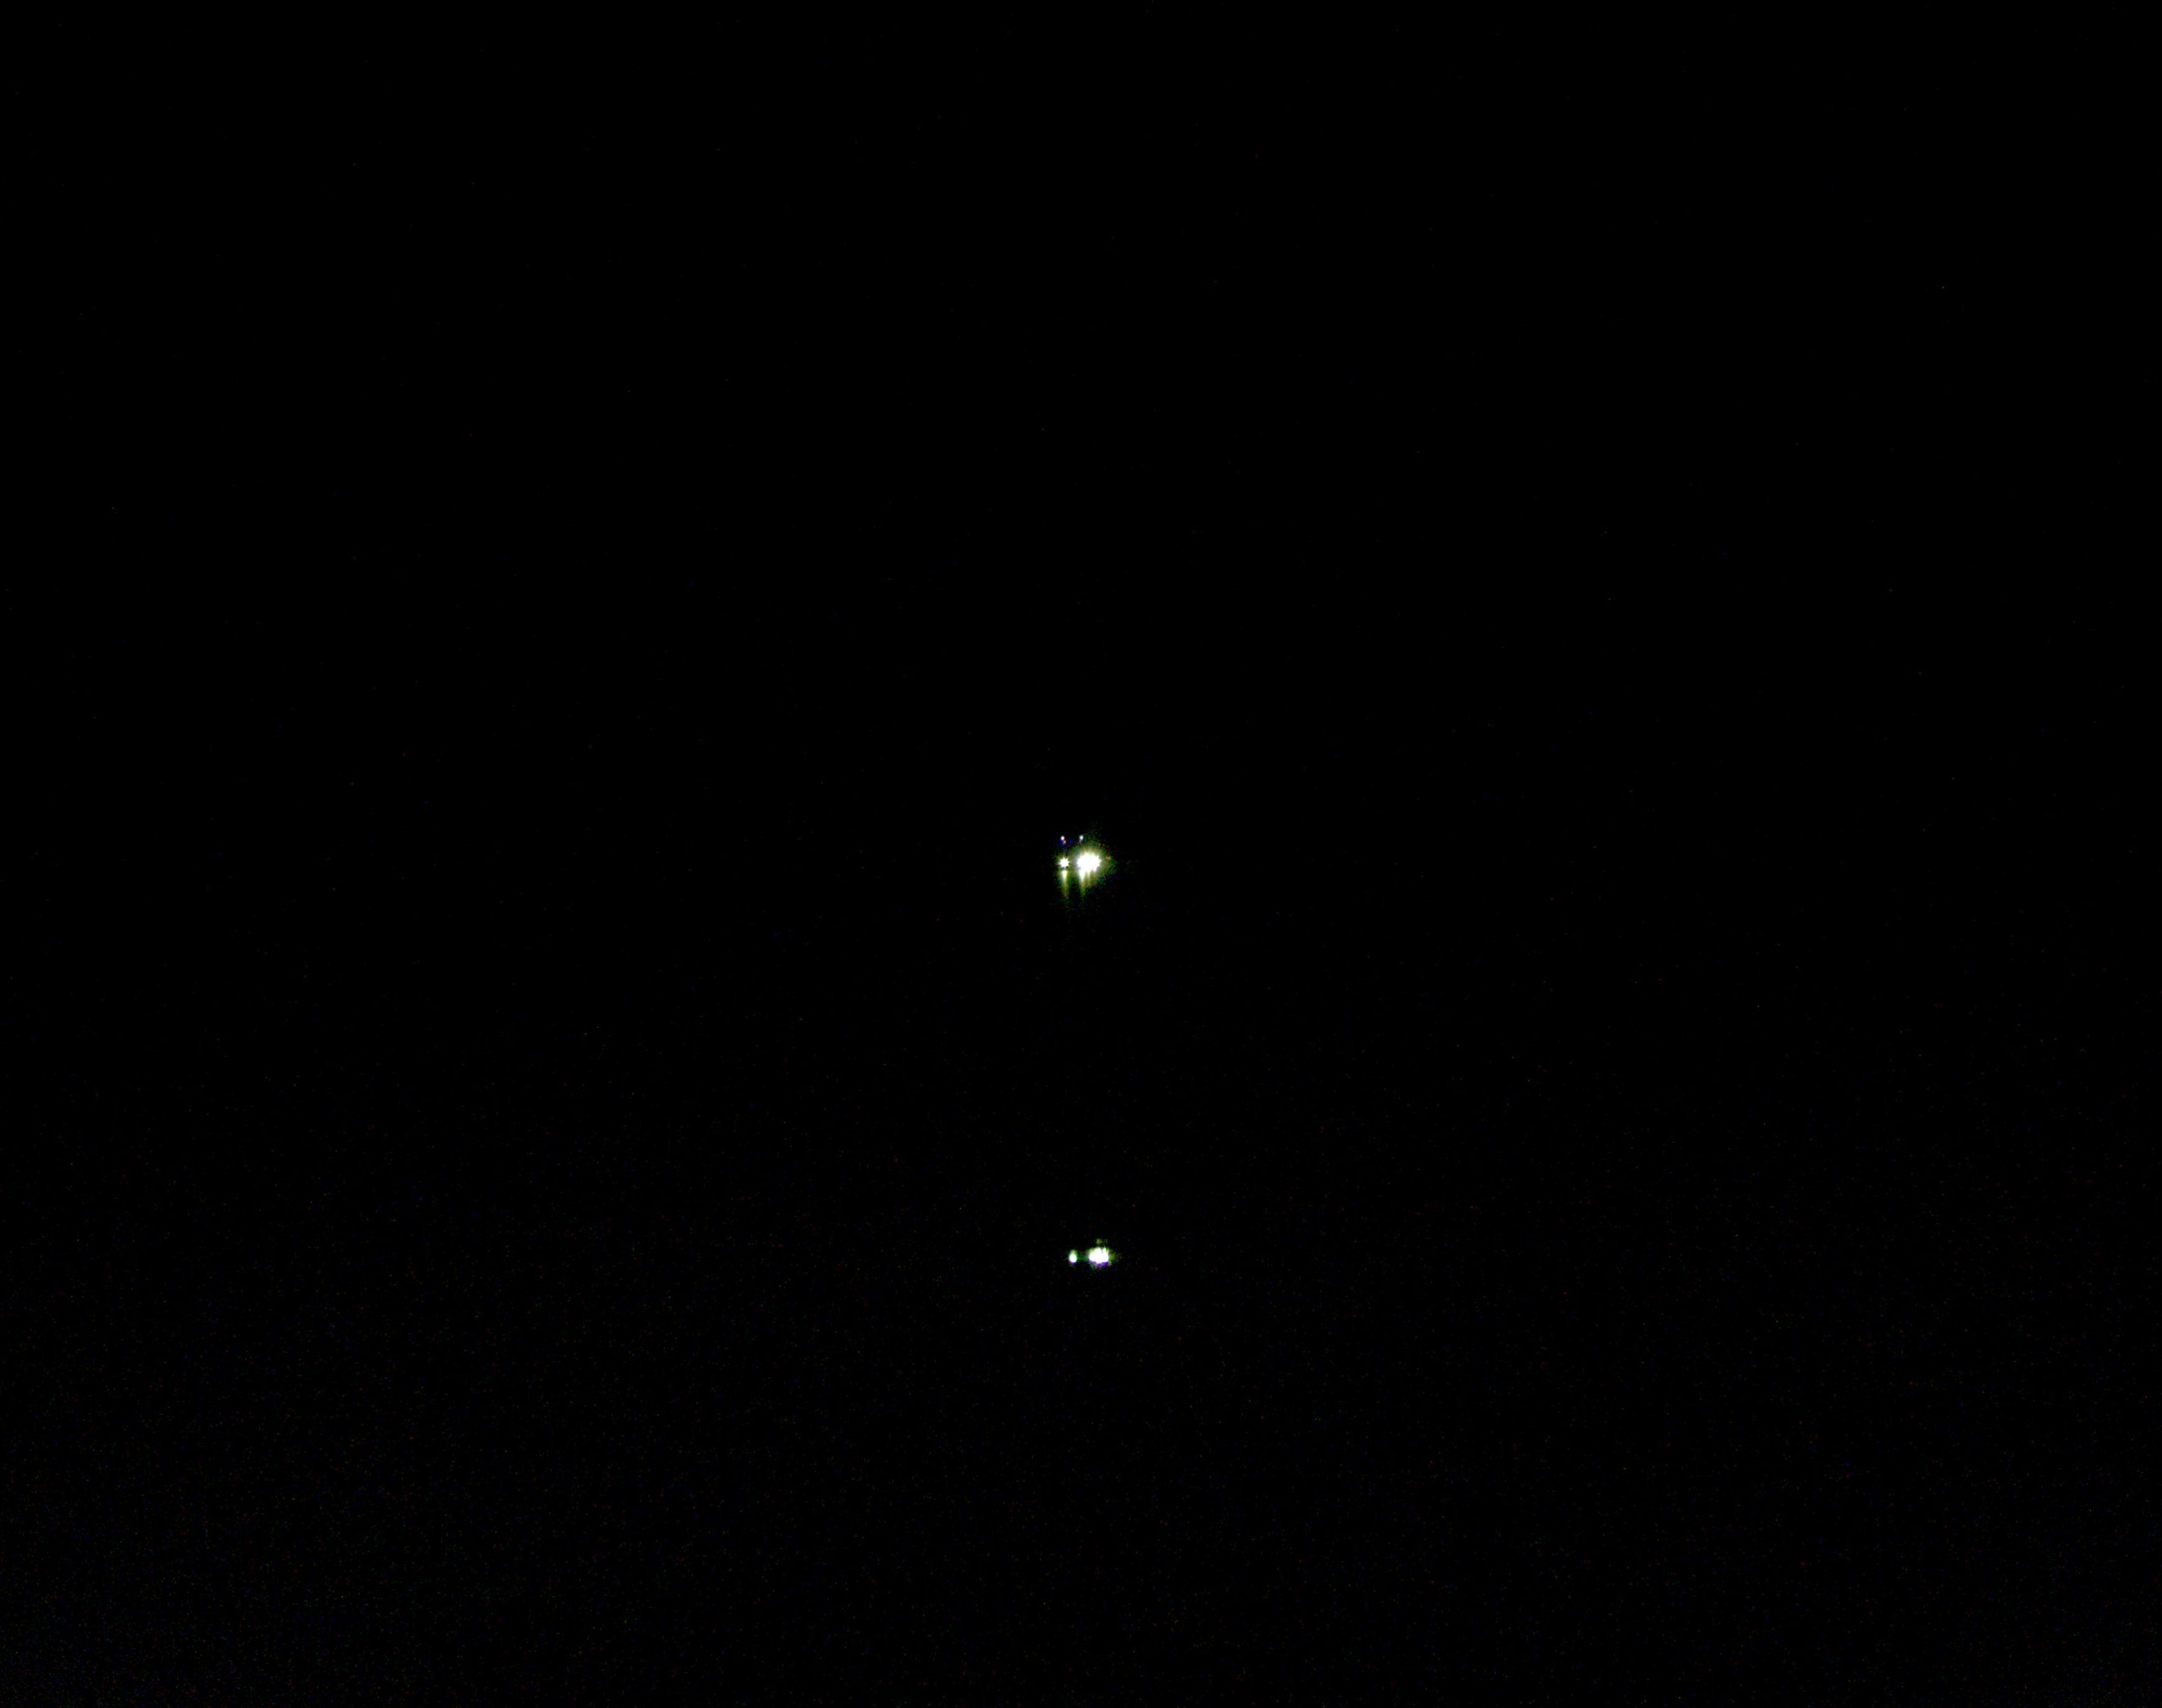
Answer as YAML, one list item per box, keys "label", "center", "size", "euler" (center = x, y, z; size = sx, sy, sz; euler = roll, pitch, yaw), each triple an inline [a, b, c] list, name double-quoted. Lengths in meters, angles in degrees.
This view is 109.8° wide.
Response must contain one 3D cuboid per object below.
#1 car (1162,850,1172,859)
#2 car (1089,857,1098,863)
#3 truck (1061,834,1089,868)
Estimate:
- label: "car"
  center: [22.144, 0.053, 195.582]
  size: [1.998, 2.231, 4.000]
  euler: [-2, 0, 1]
- label: "car"
  center: [3.088, 1.411, 181.425]
  size: [1.845, 1.475, 4.293]
  euler: [-2, 0, 4]
- label: "truck"
  center: [-0.655, -0.401, 95.269]
  size: [3.003, 3.877, 12.888]
  euler: [-2, 0, 1]
